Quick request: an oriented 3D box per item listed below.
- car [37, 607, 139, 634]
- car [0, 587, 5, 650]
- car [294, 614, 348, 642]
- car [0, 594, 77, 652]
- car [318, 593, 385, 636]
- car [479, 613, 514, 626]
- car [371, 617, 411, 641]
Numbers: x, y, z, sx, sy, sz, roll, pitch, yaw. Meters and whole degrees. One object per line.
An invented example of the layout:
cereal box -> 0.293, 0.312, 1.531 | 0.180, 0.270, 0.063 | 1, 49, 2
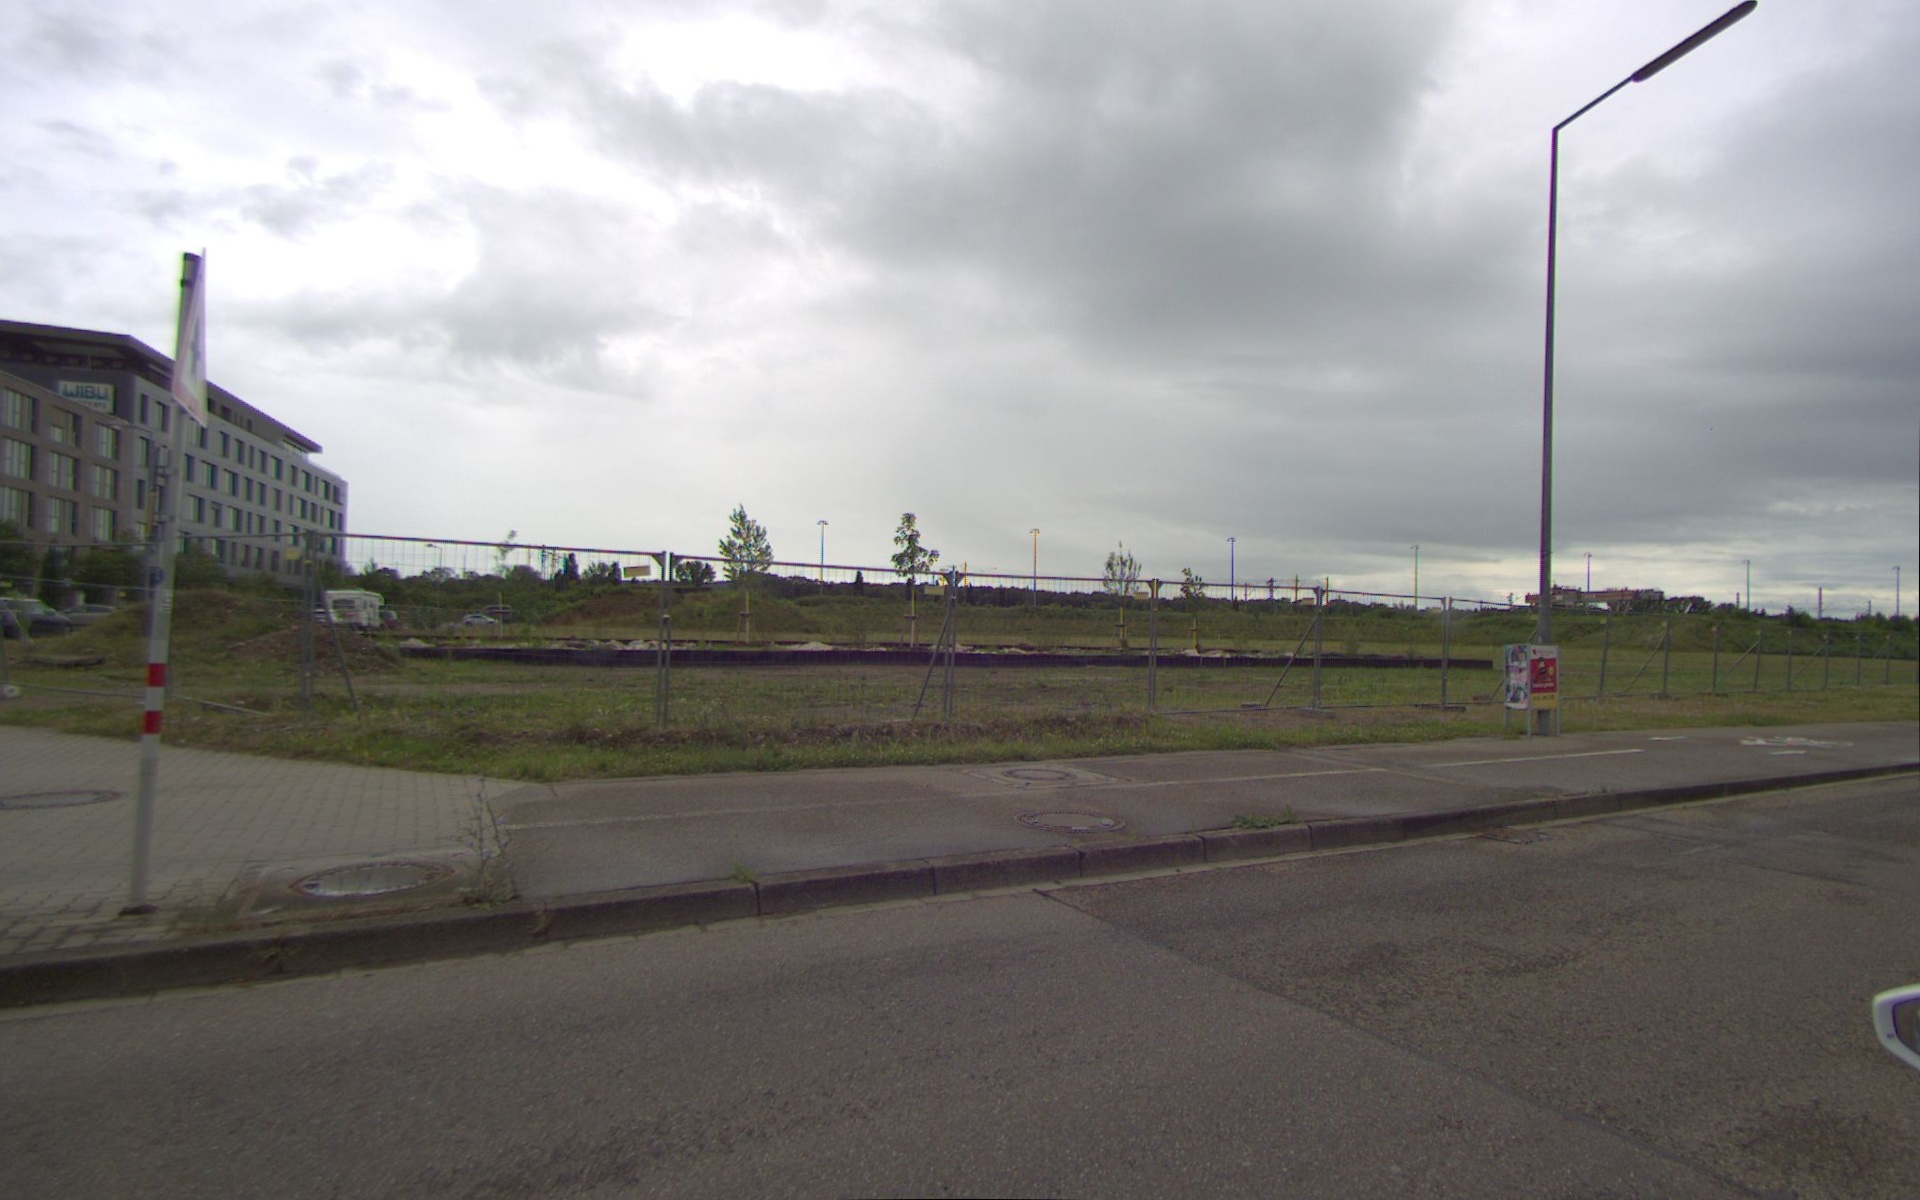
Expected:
car -> -49.557, 1.188, 57.177 | 3.942, 1.477, 1.736 | 2, -2, -22
car -> -28.664, 0.501, 27.584 | 1.968, 1.847, 3.985 | 1, -1, -18
car -> -41.395, 1.780, 65.159 | 1.969, 1.769, 3.984 | 1, -1, -18
car -> -30.825, 0.731, 32.640 | 1.776, 1.776, 3.663 | 1, -1, -17
car -> -44.014, 1.067, 72.878 | 2.672, 2.996, 6.550 | 1, -1, -18
car -> -59.513, 2.468, 128.913 | 3.949, 1.639, 1.986 | 1, -1, -28
car -> -46.063, 2.338, 81.381 | 1.969, 1.862, 4.507 | 1, -2, -19
